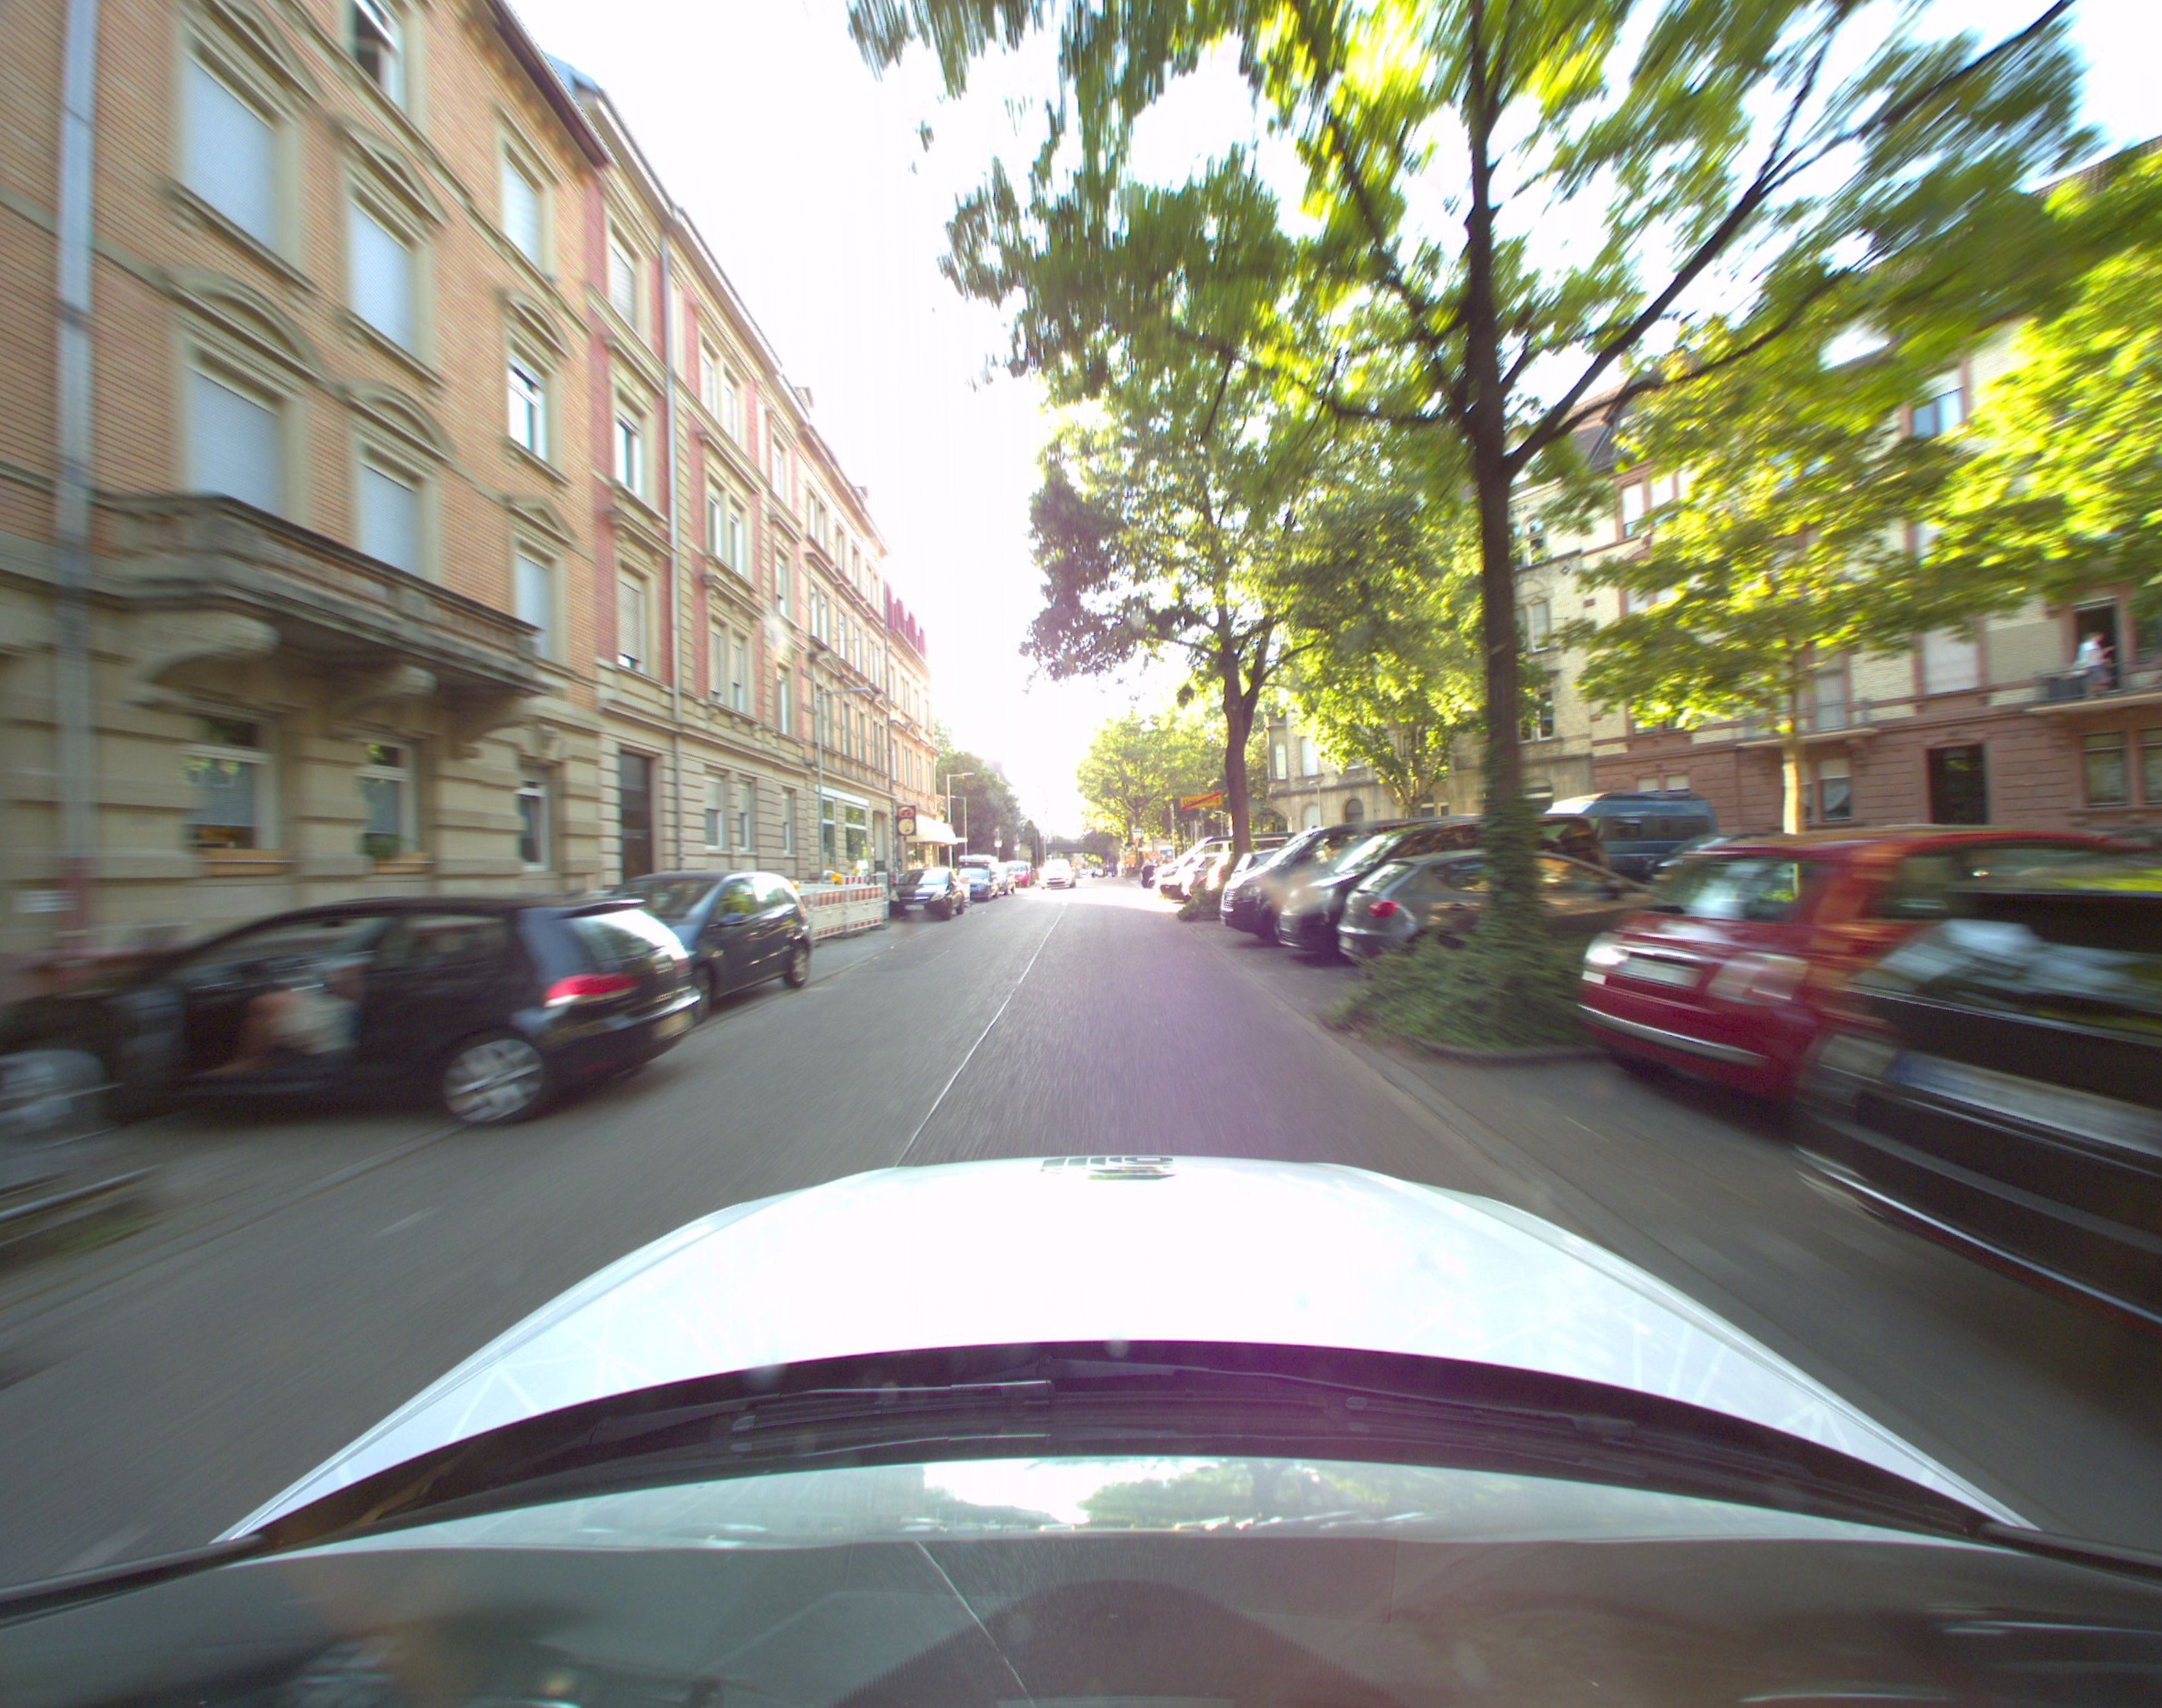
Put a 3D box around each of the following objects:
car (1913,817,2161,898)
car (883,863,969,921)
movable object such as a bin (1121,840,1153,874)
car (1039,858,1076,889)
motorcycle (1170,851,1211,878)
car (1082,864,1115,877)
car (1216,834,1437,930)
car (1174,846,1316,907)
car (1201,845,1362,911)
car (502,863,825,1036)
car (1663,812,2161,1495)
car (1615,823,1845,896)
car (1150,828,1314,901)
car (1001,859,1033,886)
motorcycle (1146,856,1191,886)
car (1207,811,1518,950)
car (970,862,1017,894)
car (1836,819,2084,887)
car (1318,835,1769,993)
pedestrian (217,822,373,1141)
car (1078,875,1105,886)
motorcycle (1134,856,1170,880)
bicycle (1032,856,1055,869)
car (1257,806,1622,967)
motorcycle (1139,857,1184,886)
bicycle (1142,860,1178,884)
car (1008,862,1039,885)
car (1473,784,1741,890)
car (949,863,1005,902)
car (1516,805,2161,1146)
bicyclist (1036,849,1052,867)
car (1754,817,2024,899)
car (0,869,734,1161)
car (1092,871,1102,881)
[{"bbox_3d":[18.312,0.040,15.065,4.046,1.276,1.861,-3,0,-3],"label":"car"},{"bbox_3d":[-4.455,1.052,23.938,1.698,1.454,4.019,-2,0,0],"label":"car"},{"bbox_3d":[4.659,0.249,67.230,1.979,2.699,3.122,-2,-1,14],"label":"movable object such as a bin"},{"bbox_3d":[-1.233,1.032,43.868,1.743,1.509,4.000,-2,0,1],"label":"car"},{"bbox_3d":[6.500,0.638,48.331,2.279,1.531,0.754,-2,-1,-5],"label":"motorcycle"},{"bbox_3d":[2.375,2.260,111.072,4.375,1.702,1.915,-1,-4,-2],"label":"car"},{"bbox_3d":[4.957,0.552,16.846,3.975,1.692,1.799,-3,0,-1],"label":"car"},{"bbox_3d":[4.770,0.652,24.112,3.827,1.595,1.741,-2,0,1],"label":"car"},{"bbox_3d":[5.254,0.614,21.732,3.827,1.515,1.848,-2,0,1],"label":"car"},{"bbox_3d":[-4.649,0.942,9.816,1.735,1.567,3.896,-3,0,2],"label":"car"},{"bbox_3d":[4.486,0.547,2.226,4.354,1.455,1.934,-3,0,1],"label":"car"},{"bbox_3d":[15.680,0.125,19.797,4.289,1.504,1.910,-2,0,-7],"label":"car"},{"bbox_3d":[4.876,0.349,26.871,4.956,2.096,2.106,-2,0,1],"label":"car"},{"bbox_3d":[-3.866,1.130,49.662,1.664,1.530,3.998,-2,-1,-1],"label":"car"},{"bbox_3d":[4.105,0.807,38.420,2.010,1.327,0.620,-2,-1,-3],"label":"motorcycle"},{"bbox_3d":[4.686,0.425,14.063,4.602,2.013,1.999,-3,0,-2],"label":"car"},{"bbox_3d":[-4.150,1.127,39.330,1.719,1.437,3.997,0,0,2],"label":"car"},{"bbox_3d":[22.761,0.004,21.250,1.876,1.582,4.197,-2,-1,-36],"label":"car"},{"bbox_3d":[4.904,0.623,9.185,3.968,1.448,1.893,-3,0,5],"label":"car"},{"bbox_3d":[-5.045,0.755,5.258,0.644,1.887,0.585,-2,-1,-43],"label":"pedestrian"},{"bbox_3d":[1.702,4.375,133.993,4.375,1.785,1.915,-1,-4,-2],"label":"car"},{"bbox_3d":[4.256,0.833,48.978,1.913,1.412,0.947,-2,-1,29],"label":"motorcycle"},{"bbox_3d":[-2.957,0.681,64.246,0.809,0.968,2.086,-1,-1,-35],"label":"bicycle"},{"bbox_3d":[4.869,0.418,11.508,4.258,1.885,1.937,-3,0,-3],"label":"car"},{"bbox_3d":[3.970,0.846,40.328,2.017,1.285,0.903,-4,-1,-1],"label":"motorcycle"},{"bbox_3d":[4.372,0.988,45.123,1.921,1.246,0.302,-2,-1,-5],"label":"bicycle"},{"bbox_3d":[-3.789,1.265,54.114,1.663,1.458,4.000,-2,-1,1],"label":"car"},{"bbox_3d":[14.182,-0.447,22.198,5.885,2.537,2.376,-2,0,-5],"label":"car"},{"bbox_3d":[-4.271,1.130,34.112,1.759,1.437,4.299,-2,0,0],"label":"car"},{"bbox_3d":[5.075,0.524,4.728,4.066,1.497,1.844,-3,0,1],"label":"car"},{"bbox_3d":[-2.931,0.344,64.209,0.809,1.383,0.975,-1,-1,-35],"label":"bicyclist"},{"bbox_3d":[17.177,0.077,17.456,4.046,1.510,1.861,-2,0,-3],"label":"car"},{"bbox_3d":[-4.932,0.987,5.908,3.981,1.529,1.823,-3,0,-5],"label":"car"},{"bbox_3d":[2.975,4.096,151.988,1.769,1.609,4.402,-3,0,1],"label":"car"}]
